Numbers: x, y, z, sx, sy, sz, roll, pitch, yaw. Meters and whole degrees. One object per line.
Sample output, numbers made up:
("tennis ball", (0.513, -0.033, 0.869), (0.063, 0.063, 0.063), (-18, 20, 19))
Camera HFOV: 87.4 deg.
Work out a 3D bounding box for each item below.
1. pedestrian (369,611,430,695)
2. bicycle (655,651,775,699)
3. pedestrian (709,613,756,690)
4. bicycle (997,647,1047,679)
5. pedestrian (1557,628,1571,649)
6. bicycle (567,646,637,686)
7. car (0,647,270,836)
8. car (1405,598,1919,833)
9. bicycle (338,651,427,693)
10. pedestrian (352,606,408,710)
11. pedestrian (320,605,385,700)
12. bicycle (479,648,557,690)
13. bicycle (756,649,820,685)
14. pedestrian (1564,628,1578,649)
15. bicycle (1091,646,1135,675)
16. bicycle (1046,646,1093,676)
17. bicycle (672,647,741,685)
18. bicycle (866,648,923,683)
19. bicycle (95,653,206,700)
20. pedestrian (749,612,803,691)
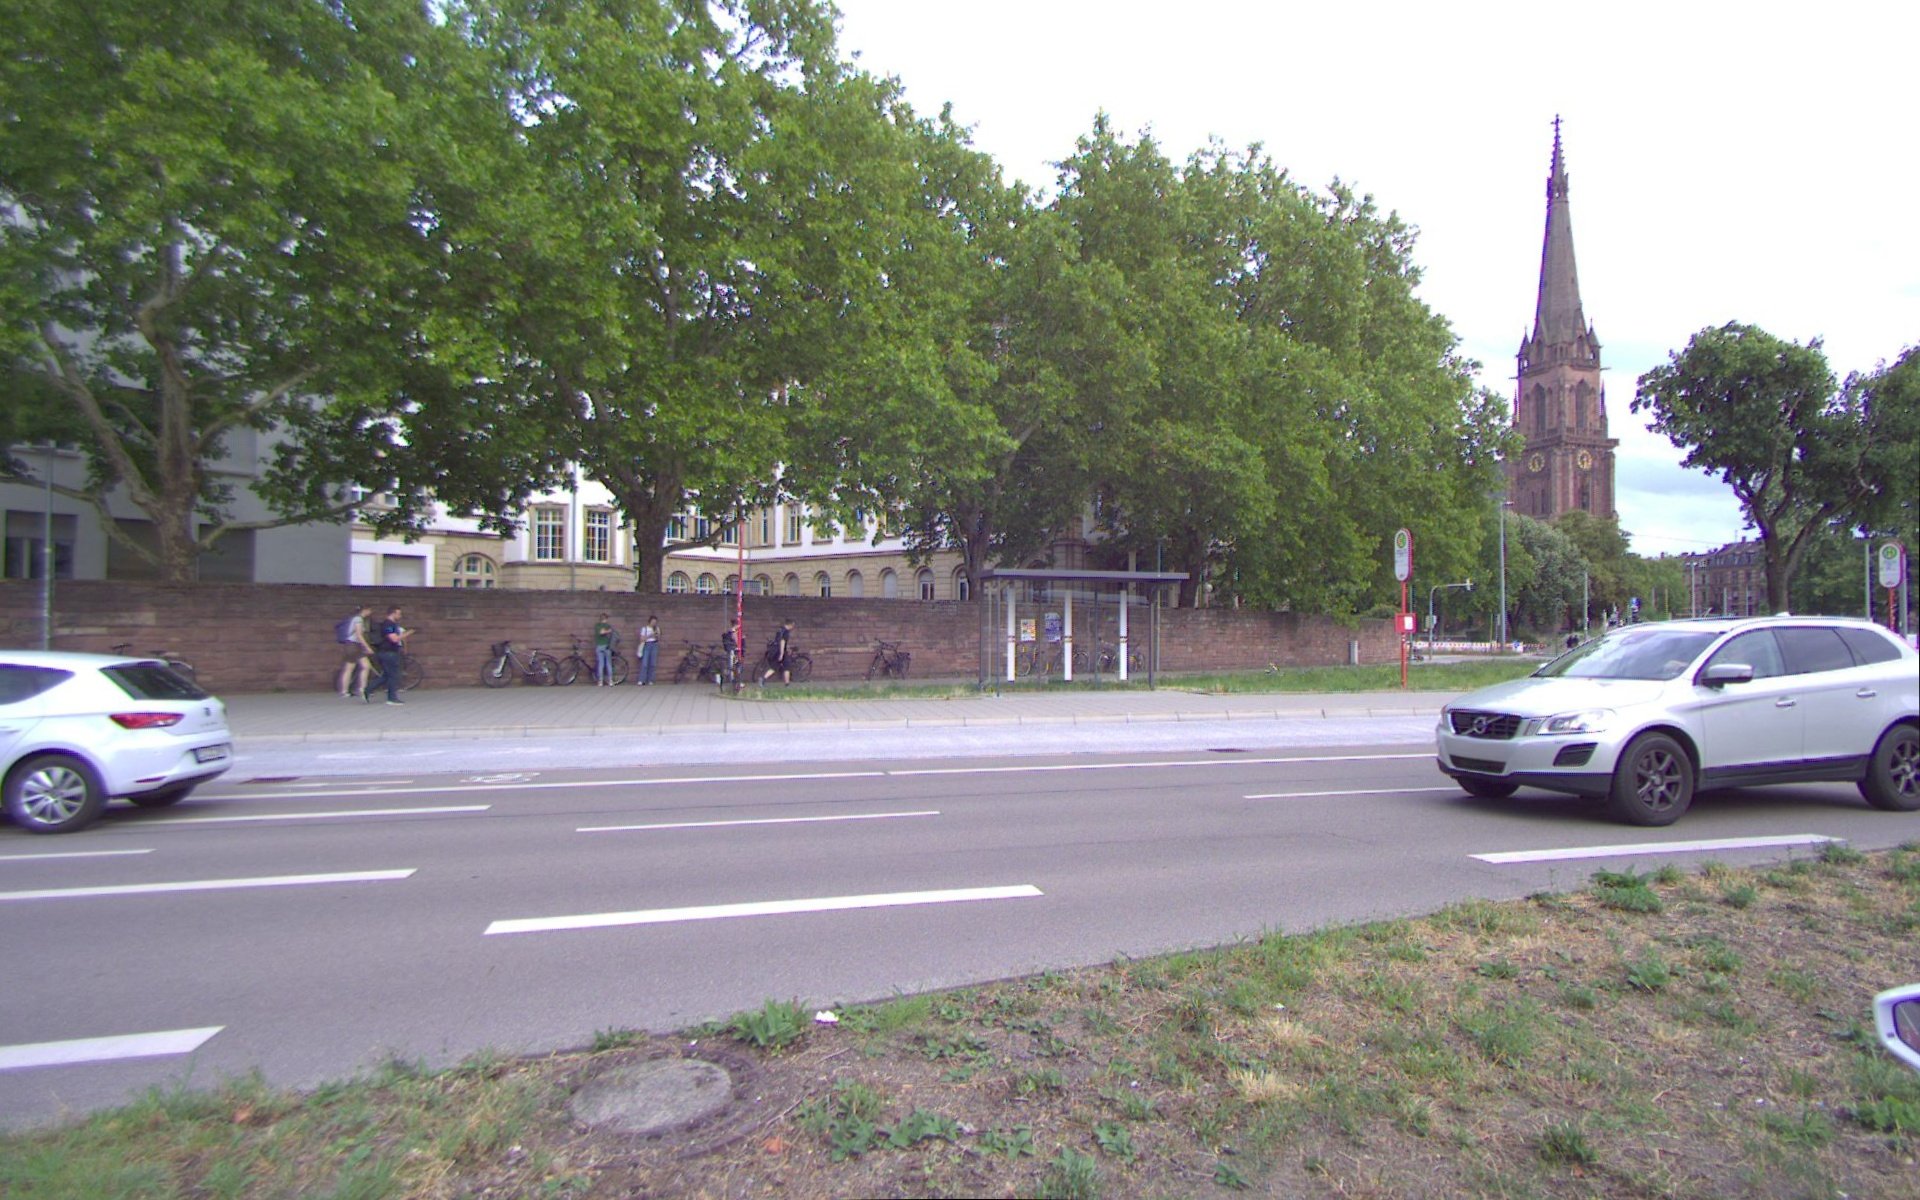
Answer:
("pedestrian", (-11.688, 1.093, 20.942), (0.918, 1.693, 0.752), (3, -2, -43))
("bicycle", (-4.906, 1.506, 20.180), (2.295, 0.931, 0.471), (0, -1, -7))
("pedestrian", (-5.470, 1.227, 24.105), (0.778, 1.806, 0.752), (3, -2, -43))
("bicycle", (1.922, 1.937, 31.093), (1.607, 0.919, 0.477), (1, 1, -39))
("pedestrian", (46.519, 2.935, 77.339), (0.715, 1.581, 0.561), (-2, -1, -20))
("bicycle", (-8.423, 1.544, 23.644), (1.505, 0.890, 0.345), (1, 1, -32))
("car", (-8.561, 1.144, 8.495), (4.104, 1.462, 1.698), (1, -2, -14))
("car", (6.414, 0.920, 8.990), (4.300, 1.753, 1.782), (1, -2, -16))
("bicycle", (-12.227, 1.517, 21.301), (1.603, 0.838, 0.438), (1, 1, -32))
("pedestrian", (-10.554, 1.042, 18.281), (0.716, 1.806, 0.753), (3, 0, -39))
("pedestrian", (-11.897, 1.011, 19.671), (0.908, 1.806, 0.752), (3, -2, -43))
("bicycle", (-9.941, 1.545, 22.603), (1.538, 0.890, 0.414), (1, 1, -32))
("bicycle", (-4.502, 1.742, 26.278), (1.605, 0.890, 0.438), (1, 1, -36))
("pedestrian", (46.409, 2.924, 76.285), (0.715, 1.581, 0.561), (-2, -1, -20))
("bicycle", (5.141, 2.010, 33.741), (1.607, 0.919, 0.477), (1, 1, -39))
("bicycle", (3.552, 1.975, 32.544), (1.607, 0.919, 0.477), (1, 1, -39))
("bicycle", (-6.294, 1.640, 25.023), (1.605, 0.890, 0.438), (1, 1, -36))
("bicycle", (-1.838, 1.819, 28.254), (1.606, 0.919, 0.477), (1, 1, -38))
("bicycle", (-15.538, 1.449, 19.312), (1.603, 0.838, 0.438), (1, 1, -32))
("pedestrian", (-4.279, 1.189, 23.341), (0.918, 1.806, 0.752), (3, -2, -43))
